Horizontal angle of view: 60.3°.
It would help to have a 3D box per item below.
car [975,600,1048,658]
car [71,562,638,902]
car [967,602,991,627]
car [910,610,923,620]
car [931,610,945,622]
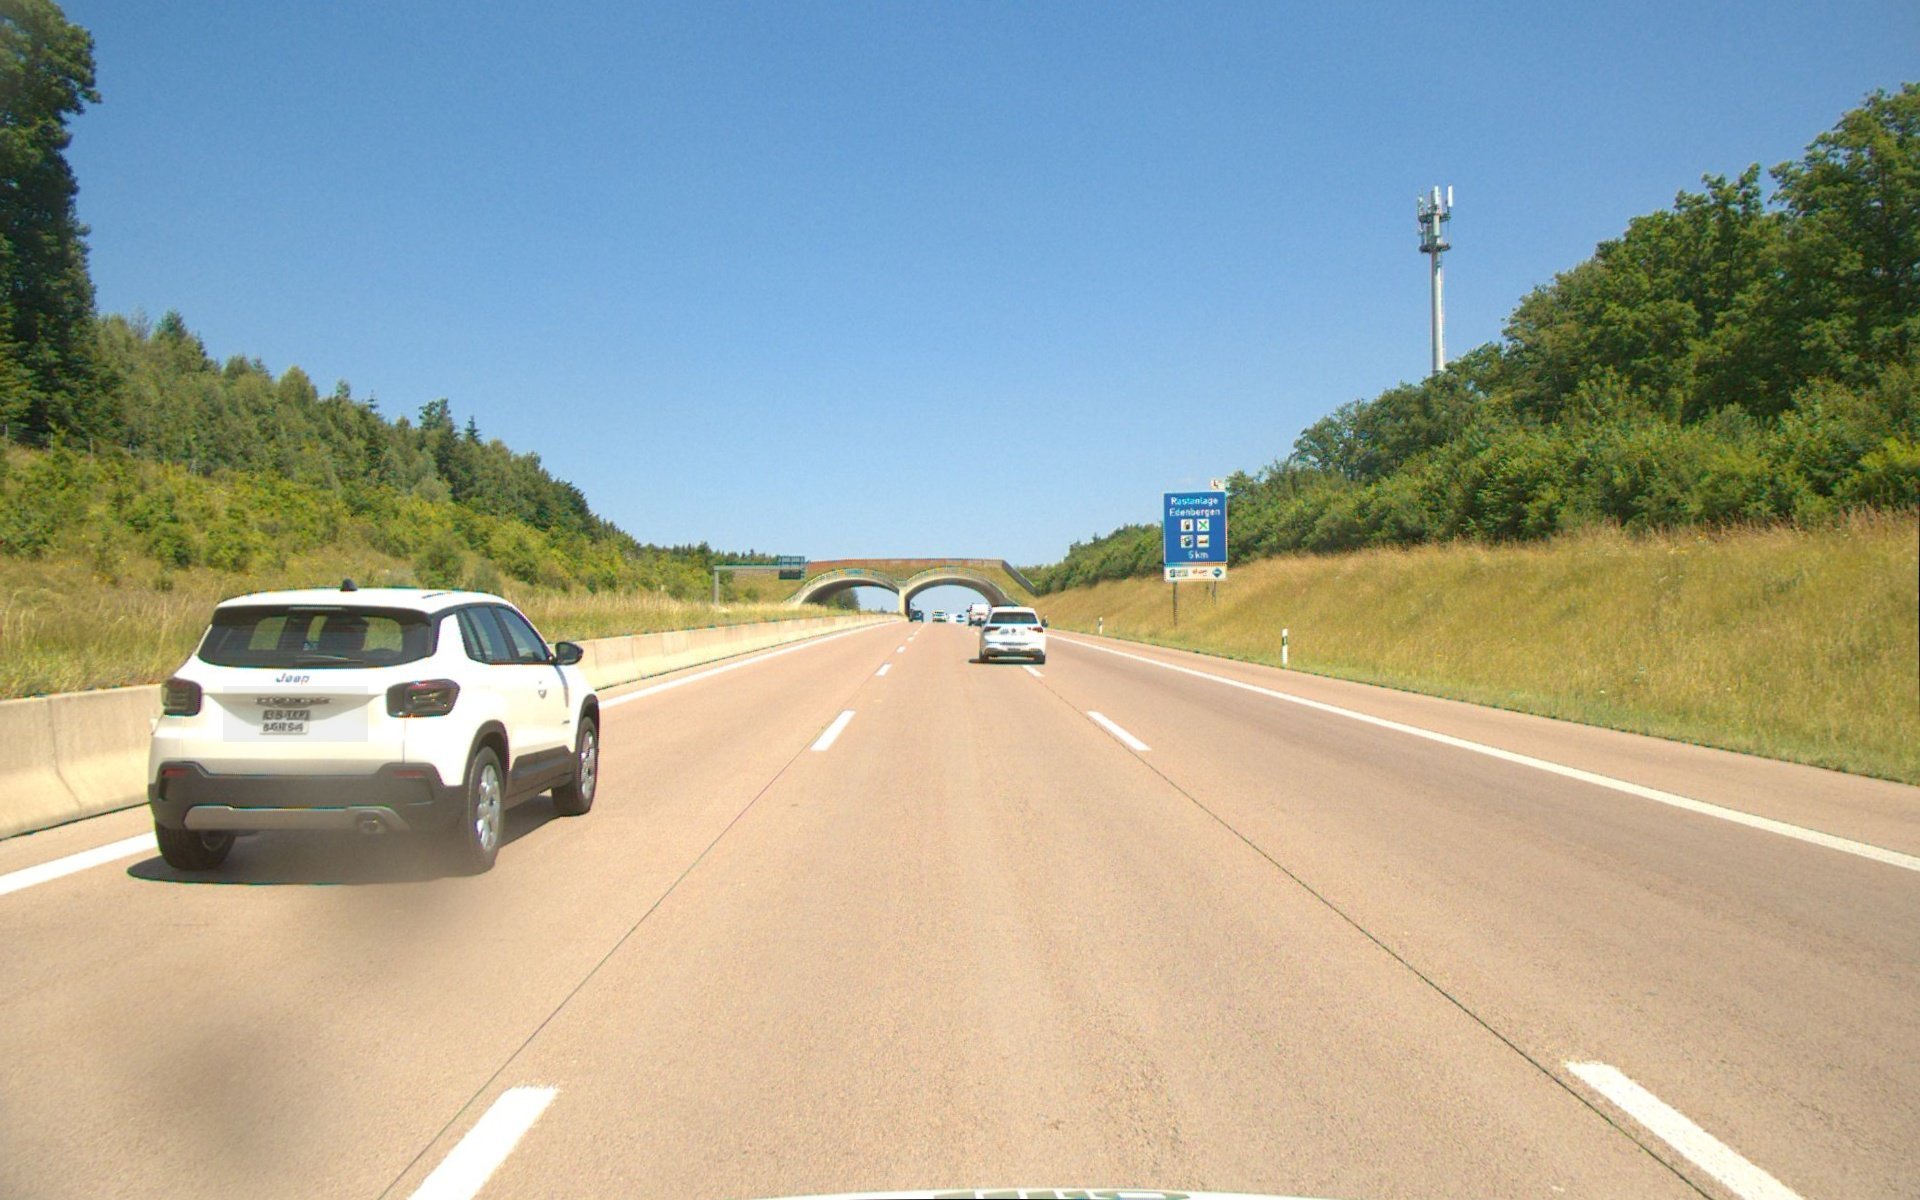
[{"bbox_3d":[1.354,0.744,44.098,1.852,1.422,4.001,1,0,1],"label":"car"},{"bbox_3d":[-3.395,0.641,10.422,1.841,1.635,4.833,0,0,-1],"label":"car"},{"bbox_3d":[1.676,1.251,143.723,2.067,2.089,4.001,0,1,1],"label":"car"},{"bbox_3d":[-6.521,2.258,249.067,1.852,1.489,4.001,0,1,1],"label":"car"},{"bbox_3d":[-2.900,2.059,219.216,1.852,1.489,4.000,1,0,0],"label":"car"}]
